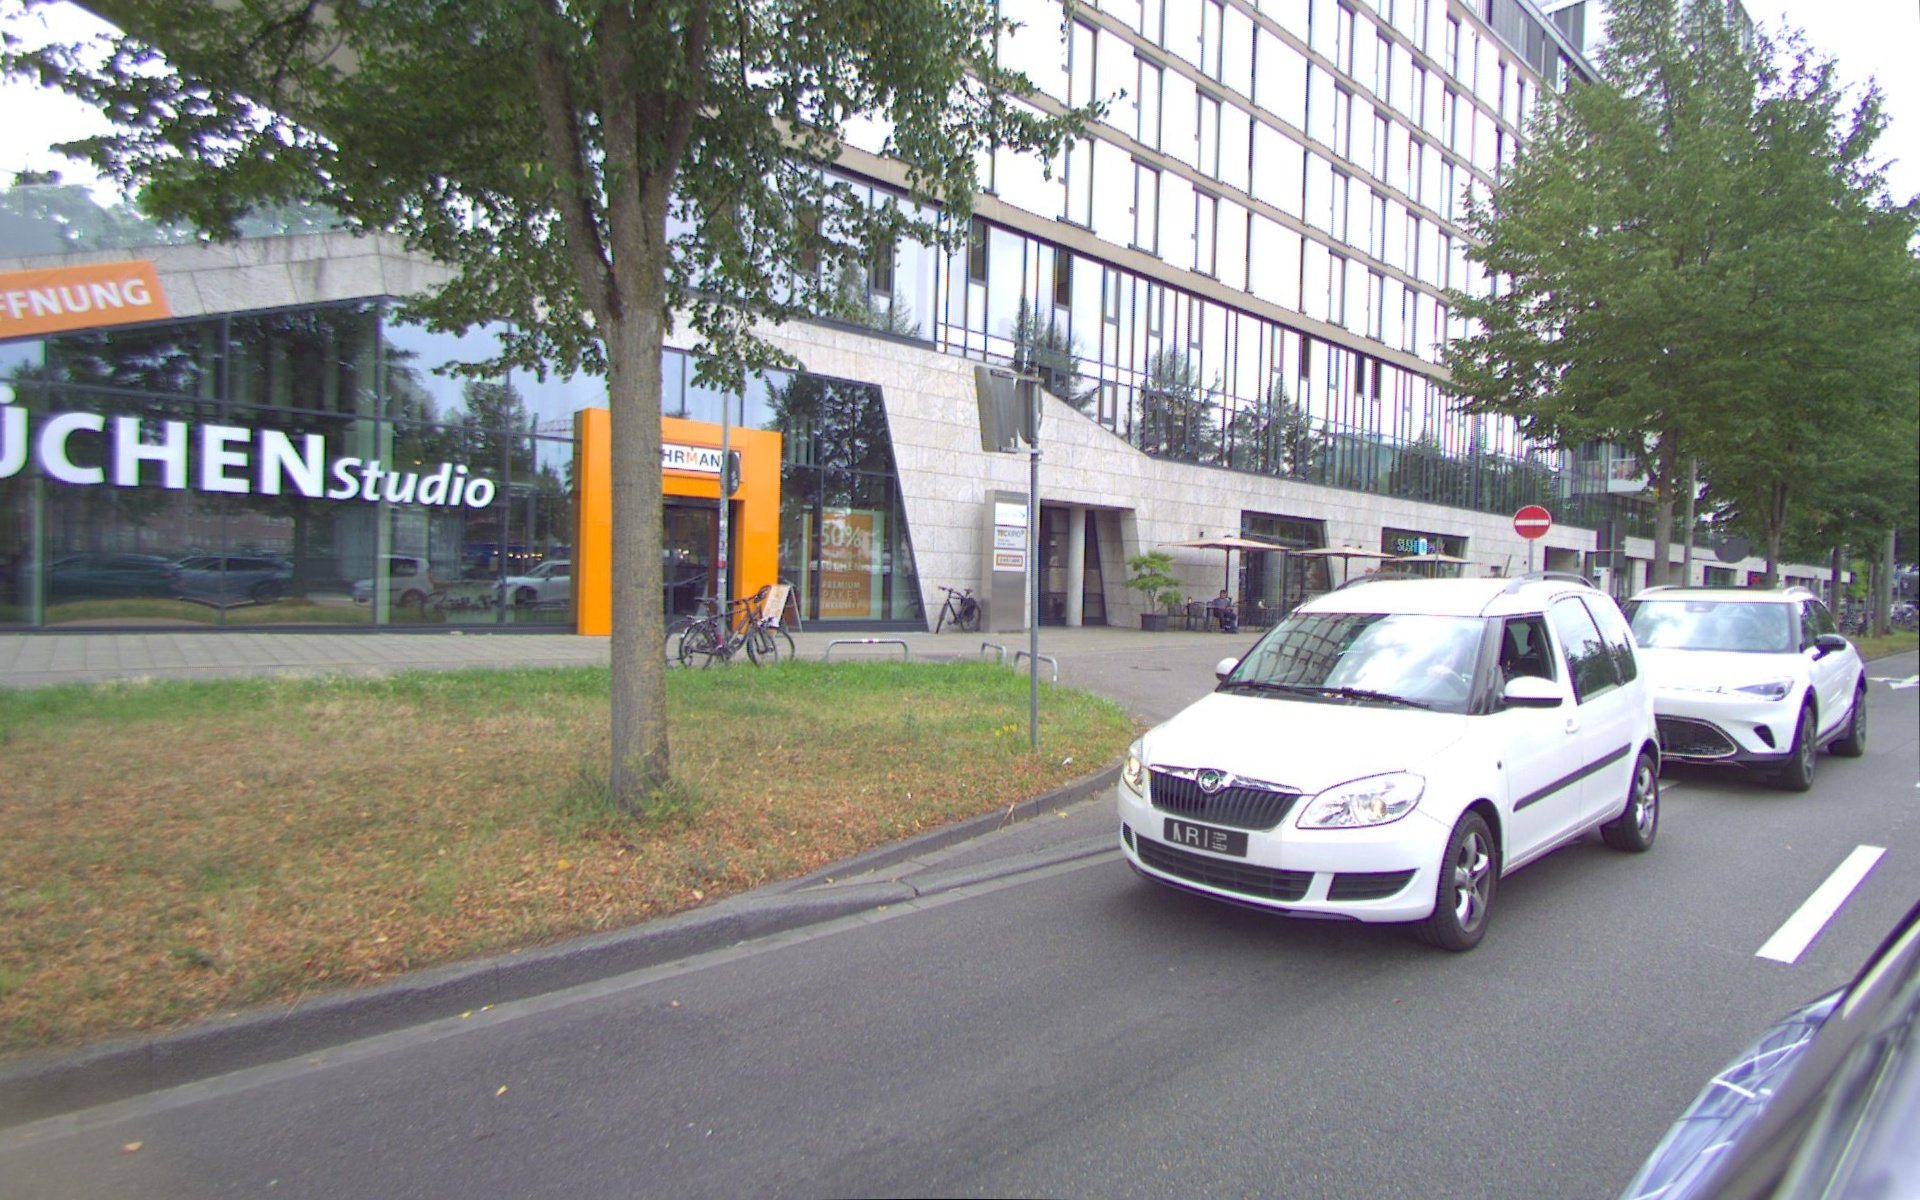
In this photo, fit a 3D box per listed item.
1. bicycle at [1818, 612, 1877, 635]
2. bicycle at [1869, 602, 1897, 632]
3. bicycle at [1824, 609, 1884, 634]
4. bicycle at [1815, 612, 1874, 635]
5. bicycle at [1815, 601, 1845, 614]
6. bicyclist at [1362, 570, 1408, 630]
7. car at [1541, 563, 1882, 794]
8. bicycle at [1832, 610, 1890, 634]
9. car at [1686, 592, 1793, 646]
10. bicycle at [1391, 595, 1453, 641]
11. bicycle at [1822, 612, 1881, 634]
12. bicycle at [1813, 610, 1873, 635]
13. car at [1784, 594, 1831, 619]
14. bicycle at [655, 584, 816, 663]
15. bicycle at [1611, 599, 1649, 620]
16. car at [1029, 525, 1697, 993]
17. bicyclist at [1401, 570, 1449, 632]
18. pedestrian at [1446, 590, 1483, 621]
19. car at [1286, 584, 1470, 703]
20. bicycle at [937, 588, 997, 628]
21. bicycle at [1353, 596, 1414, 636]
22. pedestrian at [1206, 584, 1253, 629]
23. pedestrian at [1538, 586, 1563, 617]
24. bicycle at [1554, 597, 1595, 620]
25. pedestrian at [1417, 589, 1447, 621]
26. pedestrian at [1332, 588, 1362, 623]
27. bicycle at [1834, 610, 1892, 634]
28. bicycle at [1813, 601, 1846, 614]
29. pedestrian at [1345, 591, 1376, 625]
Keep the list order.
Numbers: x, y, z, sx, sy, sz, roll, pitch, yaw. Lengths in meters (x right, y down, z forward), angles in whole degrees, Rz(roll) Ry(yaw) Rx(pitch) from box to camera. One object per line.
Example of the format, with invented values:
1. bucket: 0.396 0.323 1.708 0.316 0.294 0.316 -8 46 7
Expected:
1. bicycle: 38.683 1.032 44.115 0.642 0.963 1.862 1 -2 -43
2. bicycle: 36.647 0.671 40.196 0.709 1.130 2.170 -2 -2 41
3. bicycle: 39.768 0.974 45.014 0.693 1.079 1.931 1 -2 -43
4. bicycle: 38.126 1.034 43.634 0.493 0.963 1.862 1 -2 -43
5. bicycle: 85.299 0.716 99.246 2.231 1.191 0.961 2 1 42
6. bicyclist: 11.745 -0.019 27.988 0.972 1.601 0.726 0 3 -39
7. car: 7.066 0.582 9.369 3.954 1.677 1.781 1 -1 -42
8. bicycle: 40.885 1.002 45.960 1.927 1.079 0.536 -2 -2 41
9. car: 25.332 0.581 32.852 4.514 1.571 1.941 1 1 -42
10. bicycle: 12.314 0.474 26.948 1.971 1.157 0.675 1 1 -39
11. bicycle: 39.251 1.029 44.571 0.602 0.963 1.862 1 -2 -43
12. bicycle: 37.651 0.965 43.183 0.564 1.008 1.862 1 -2 -43
13. car: 61.036 0.478 72.879 4.166 1.607 1.862 1 4 -41
14. bicycle: -2.947 0.296 13.459 0.630 0.968 2.074 2 1 44
15. bicycle: 36.105 0.506 54.549 0.524 1.039 1.599 1 2 -43
16. car: 2.427 0.550 5.596 3.952 1.677 1.782 0 1 -41
17. bicyclist: 12.397 0.018 26.963 0.972 1.601 0.726 0 3 -38
18. pedestrian: 20.074 0.216 40.252 1.083 1.207 0.776 1 1 -26
19. car: 6.284 0.523 15.798 1.919 1.494 4.850 2 1 14
20. bicycle: 0.174 0.187 24.503 1.467 0.921 0.519 1 1 -41
21. bicycle: 11.755 0.432 28.055 1.971 1.055 0.675 1 1 -39
22. pedestrian: 7.760 0.178 29.179 0.932 1.243 0.900 1 1 -36
23. pedestrian: 27.790 0.047 47.639 0.707 1.424 0.759 1 1 -33
24. bicycle: 30.547 0.405 50.332 1.584 1.039 0.606 3 2 23
25. pedestrian: 18.522 0.197 39.723 0.743 1.207 0.723 1 1 -19
26. pedestrian: 13.642 0.180 35.667 0.746 1.207 0.720 1 1 -42
27. bicycle: 41.319 1.001 46.329 1.927 1.079 0.536 -2 -2 41
28. bicycle: 86.070 0.710 100.200 2.417 1.191 1.185 2 1 42
29. pedestrian: 14.365 0.279 36.295 0.745 1.207 0.720 1 1 -39
